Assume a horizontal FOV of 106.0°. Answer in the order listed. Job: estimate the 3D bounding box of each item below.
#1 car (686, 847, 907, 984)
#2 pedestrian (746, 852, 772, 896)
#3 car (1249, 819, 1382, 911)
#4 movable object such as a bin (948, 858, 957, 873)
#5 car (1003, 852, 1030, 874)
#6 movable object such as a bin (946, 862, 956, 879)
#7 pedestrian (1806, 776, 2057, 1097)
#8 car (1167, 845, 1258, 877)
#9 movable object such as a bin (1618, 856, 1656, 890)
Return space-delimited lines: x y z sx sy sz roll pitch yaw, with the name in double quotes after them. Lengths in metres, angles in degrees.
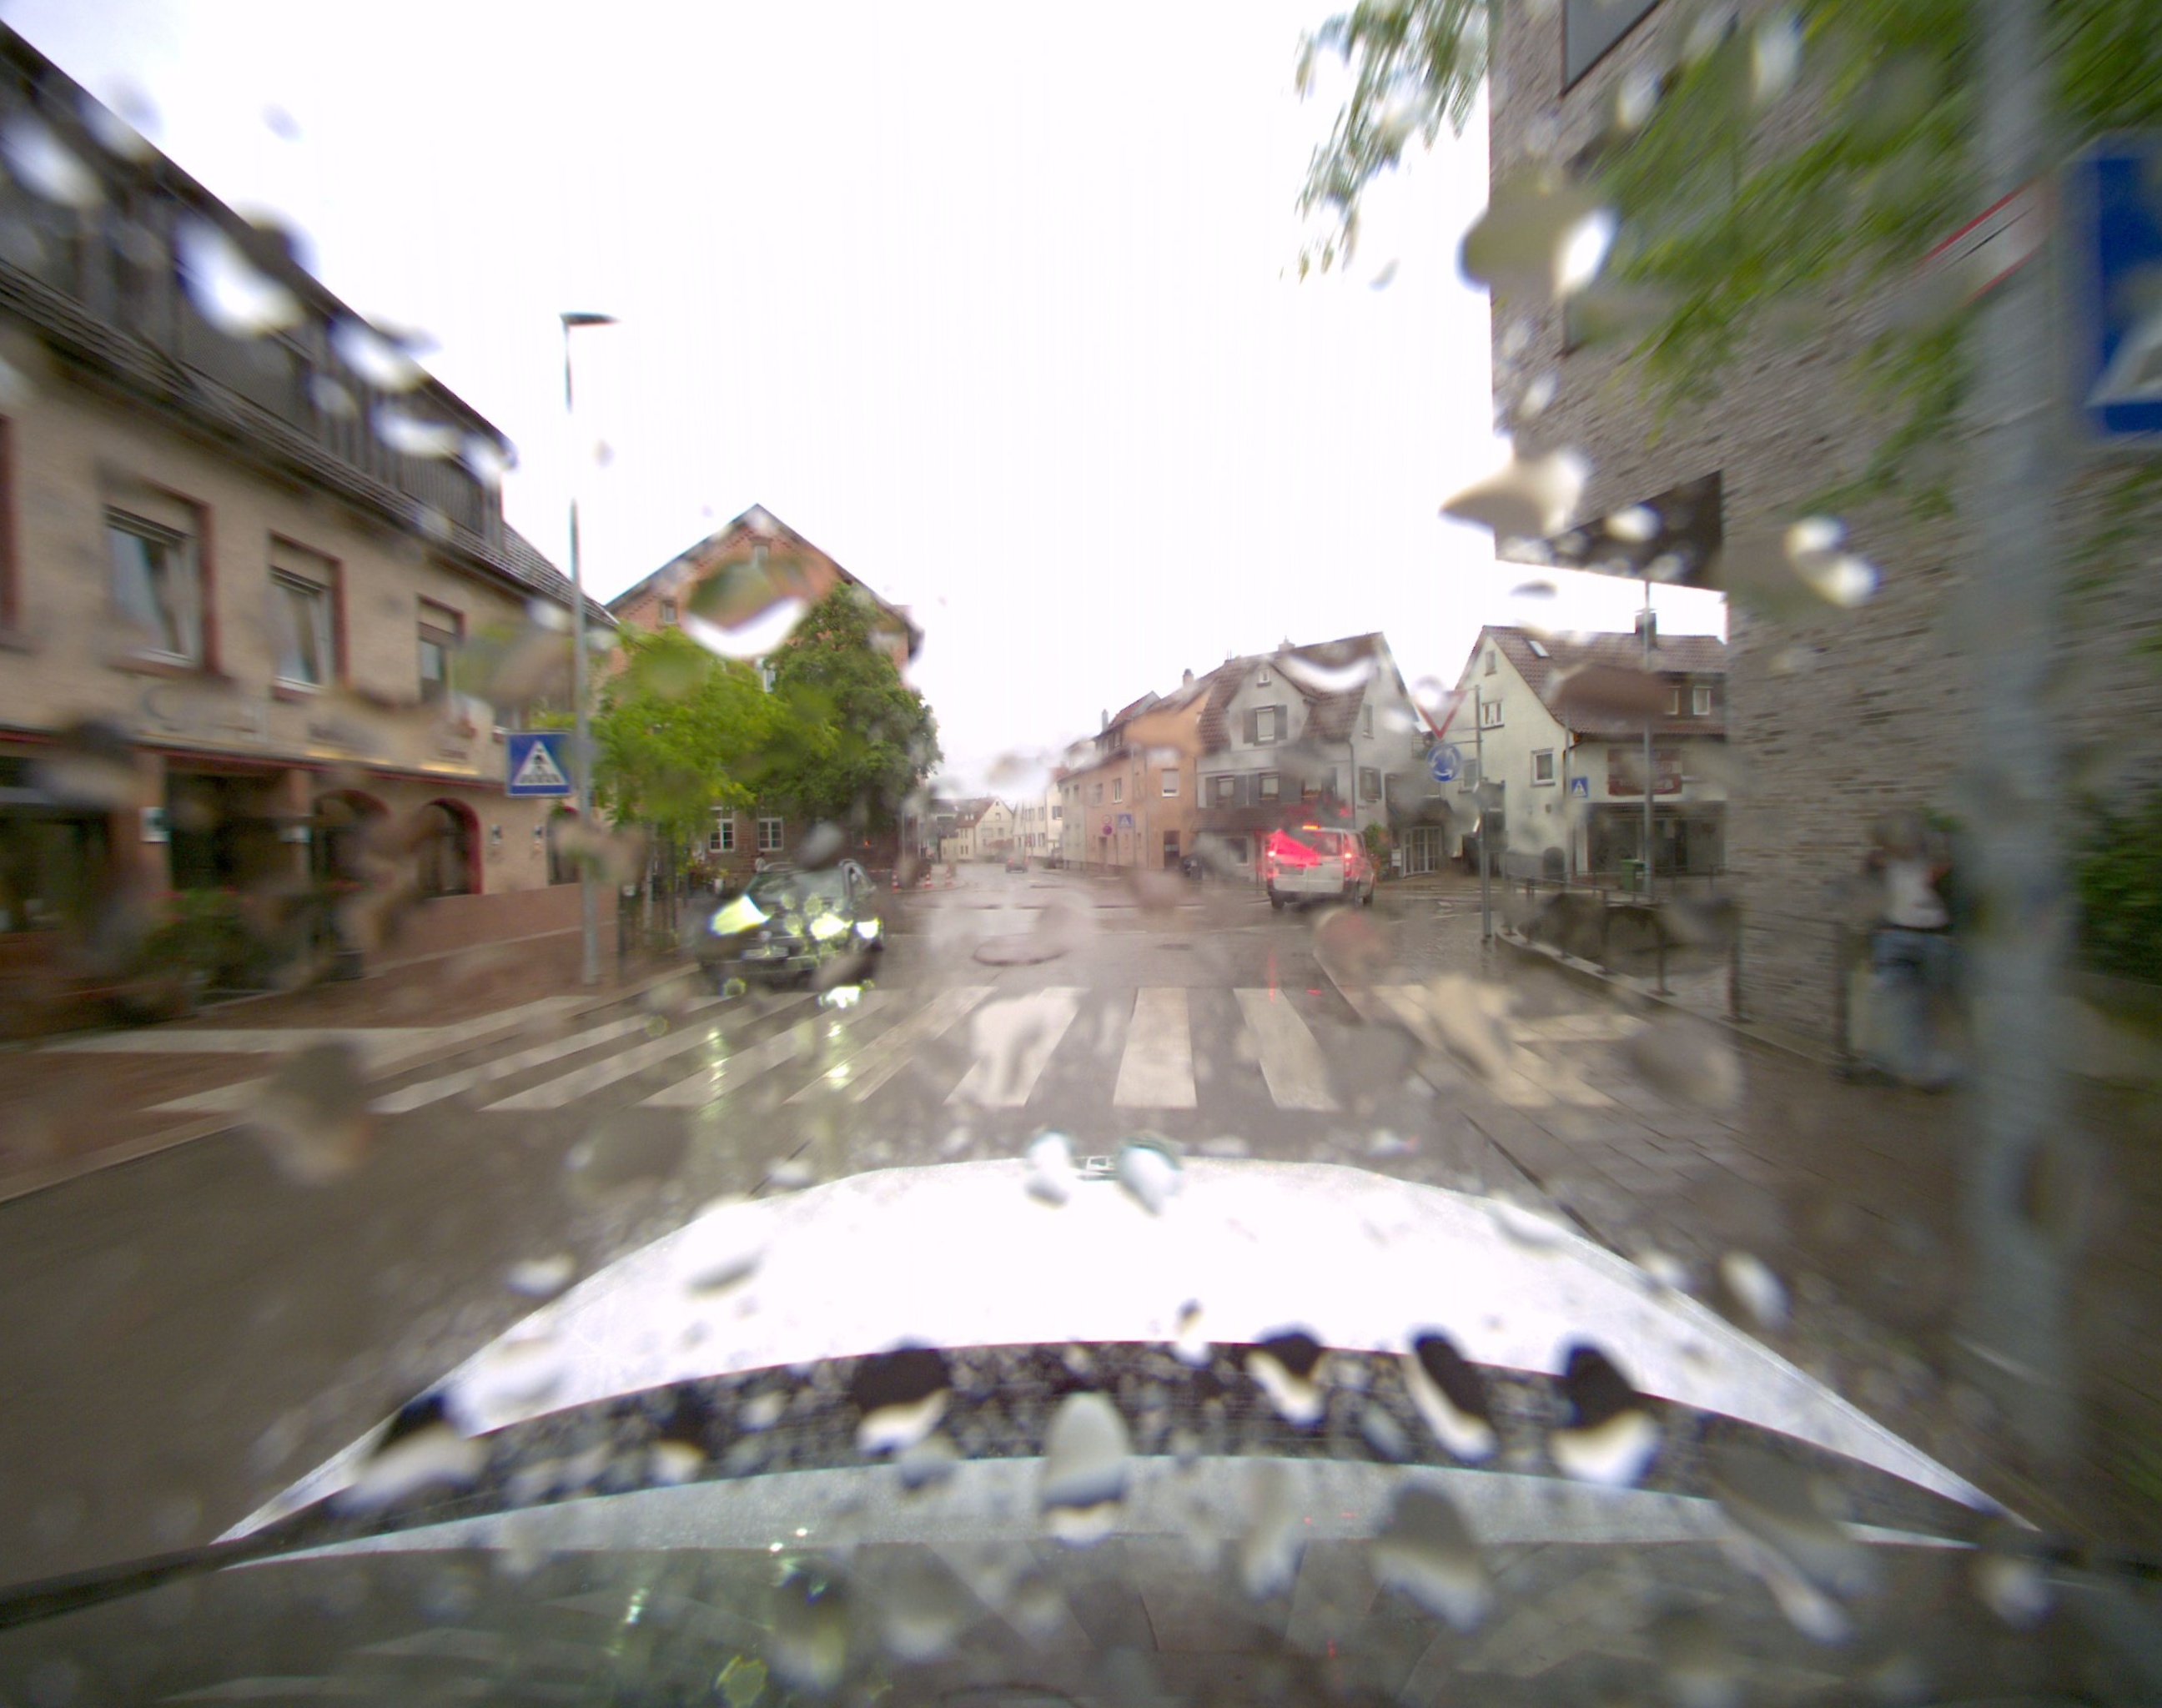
-3.711 0.679 11.510 1.783 1.508 4.462 -1 1 -4 "car"
-13.938 0.866 35.264 0.847 1.886 0.815 1 -1 -37 "pedestrian"
5.747 0.265 19.449 2.132 1.899 4.954 -2 -1 26 "car"
-10.082 0.926 63.745 0.655 1.169 0.778 0 -1 -15 "movable object such as a bin"
-5.247 0.725 66.300 1.971 1.679 4.057 -1 -1 -7 "car"
-9.351 1.177 58.732 0.627 1.173 0.758 0 -1 -15 "movable object such as a bin"
4.678 0.414 4.524 0.582 1.606 0.701 -3 0 -9 "pedestrian"
6.483 0.355 40.268 3.996 1.486 1.989 -1 -1 -17 "car"
18.679 0.642 27.361 0.760 1.081 0.685 0 3 -19 "movable object such as a bin"
